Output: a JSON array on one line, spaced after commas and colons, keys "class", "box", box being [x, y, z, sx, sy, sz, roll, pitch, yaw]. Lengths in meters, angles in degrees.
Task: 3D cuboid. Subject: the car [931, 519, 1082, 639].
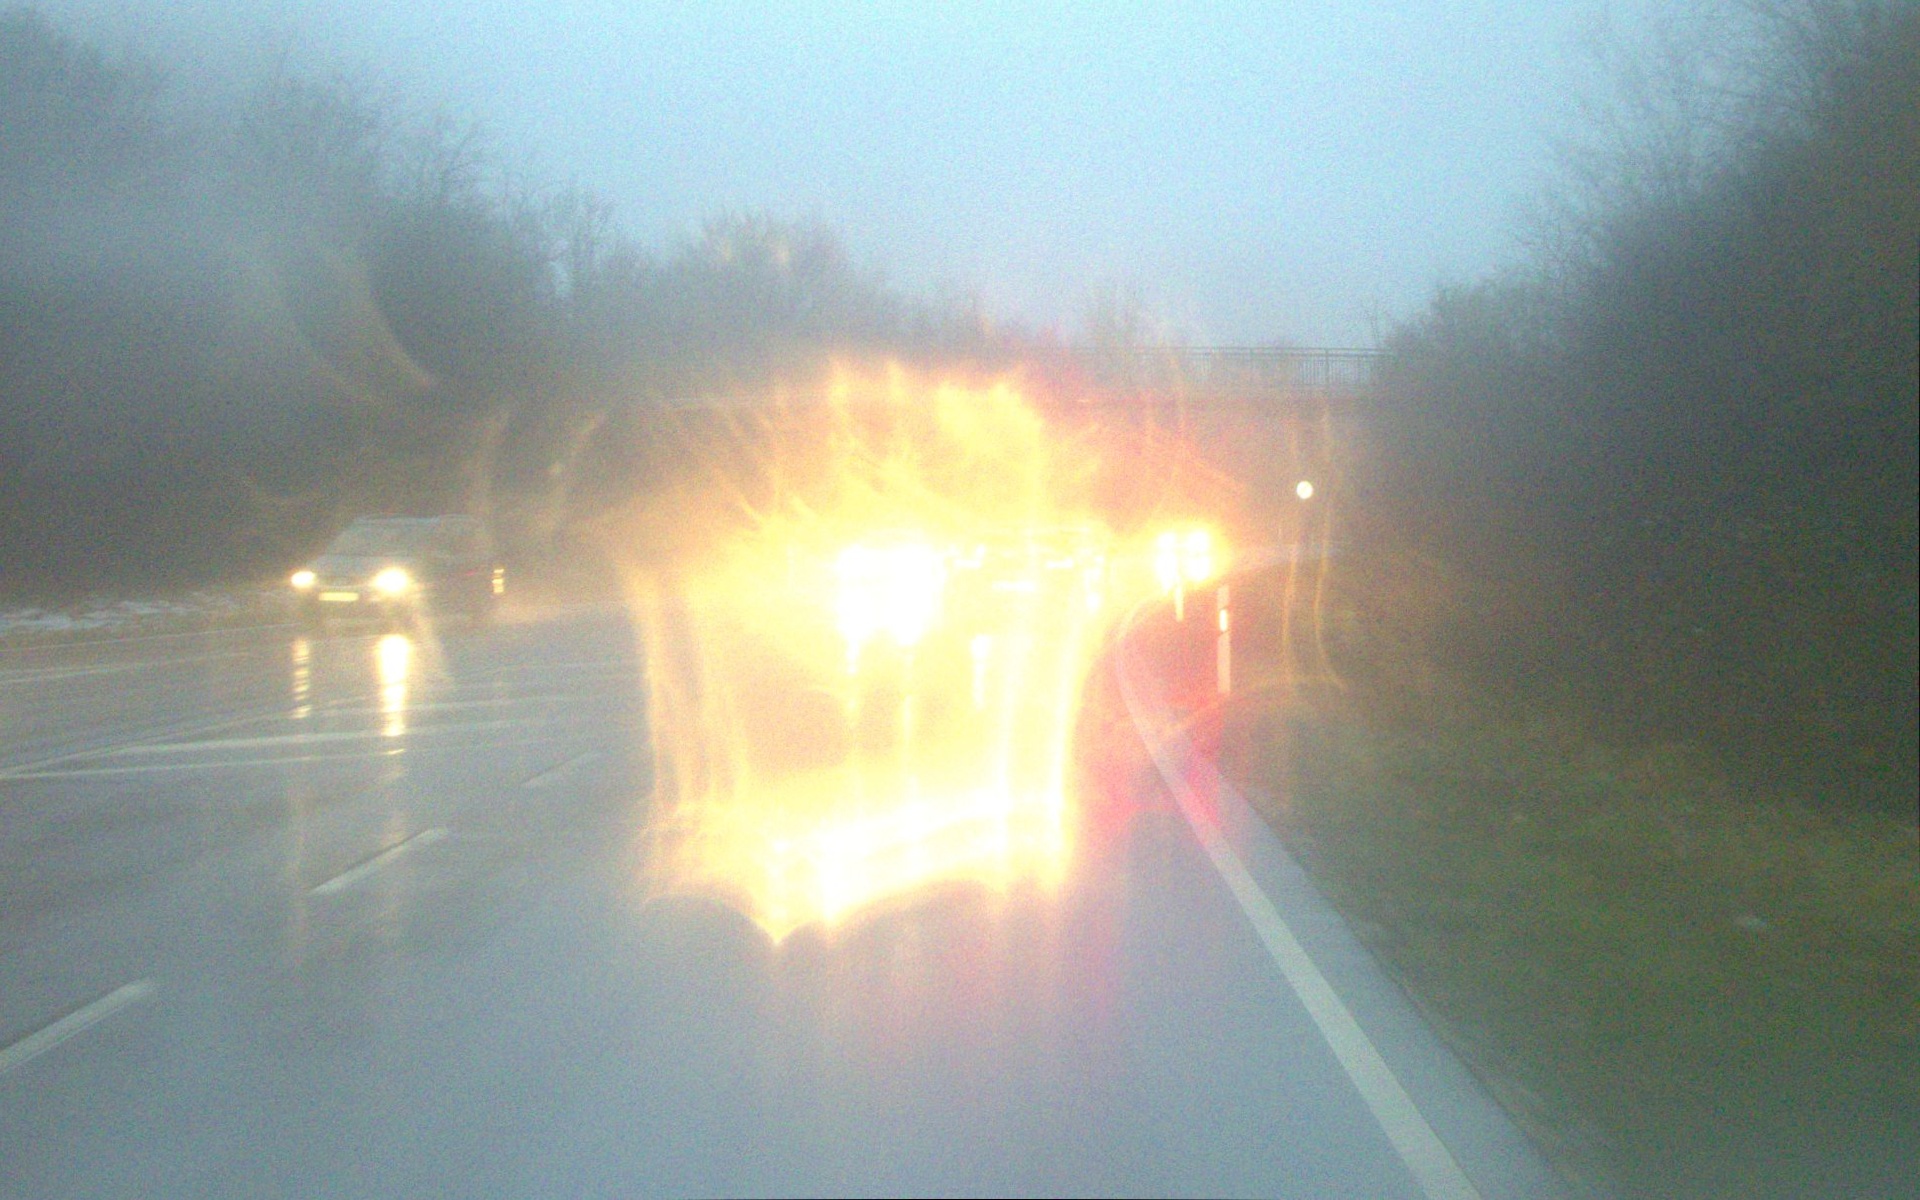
[{"class": "car", "box": [0.628, -0.295, 43.232, 1.679, 1.385, 4.098, -1, 1, 3]}]

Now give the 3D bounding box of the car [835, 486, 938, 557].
[{"class": "car", "box": [-1.700, -1.879, 81.432, 1.824, 1.518, 4.298, -1, 2, 7]}]

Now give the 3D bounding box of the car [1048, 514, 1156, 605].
[{"class": "car", "box": [2.801, -0.813, 67.135, 1.679, 1.669, 4.097, -1, 1, 8]}]

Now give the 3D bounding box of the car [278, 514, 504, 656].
[{"class": "car", "box": [-8.264, -0.247, 50.330, 1.838, 1.963, 4.356, 1, 1, 11]}]
